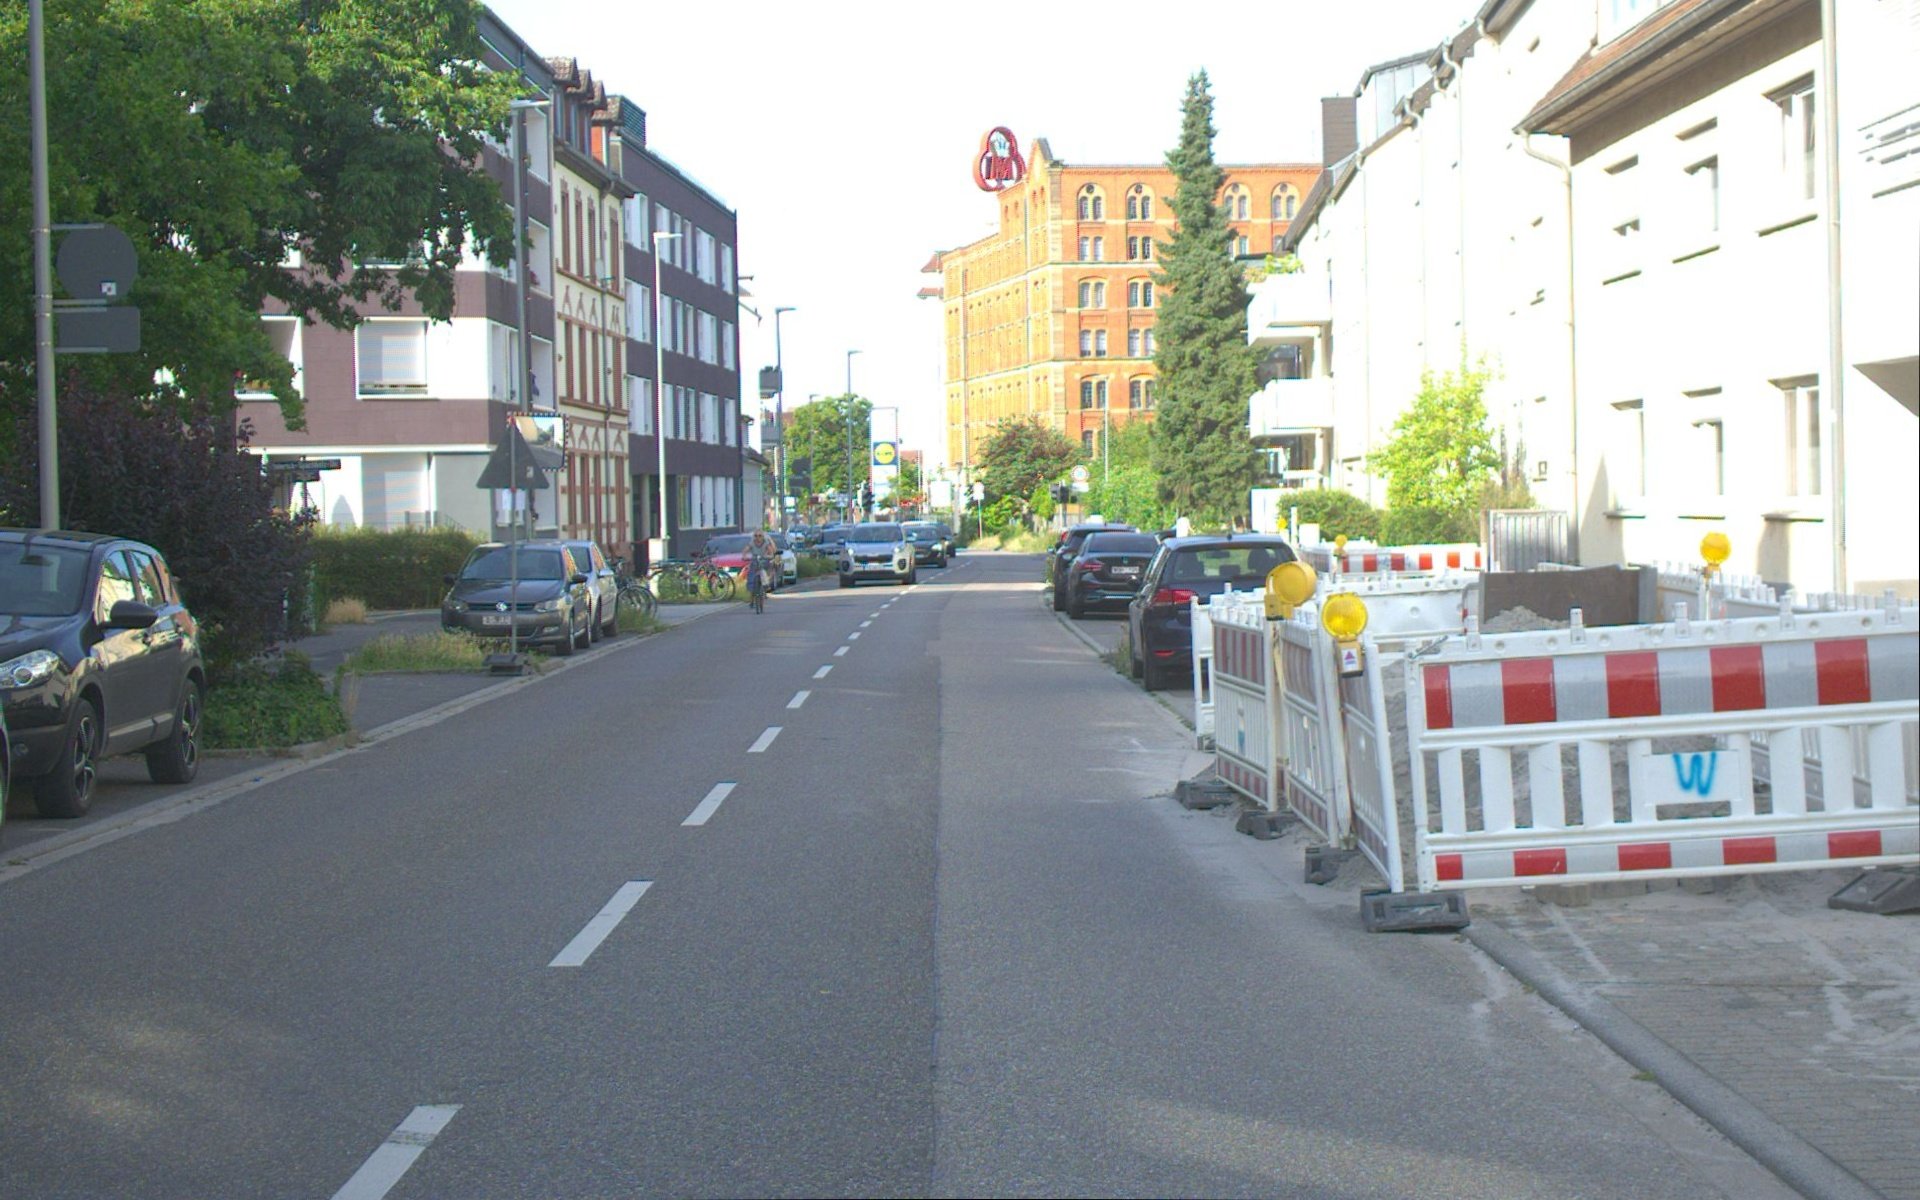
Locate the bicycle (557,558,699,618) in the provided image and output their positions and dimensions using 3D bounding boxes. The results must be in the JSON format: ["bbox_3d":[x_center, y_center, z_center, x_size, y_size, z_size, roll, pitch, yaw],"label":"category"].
[{"bbox_3d":[-5.574,-0.209,57.765,2.339,0.967,0.708,-1,1,-5],"label":"bicycle"}]

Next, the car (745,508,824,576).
[{"bbox_3d":[-5.044,-1.682,99.309,1.993,1.905,3.689,-1,1,1],"label":"car"}]

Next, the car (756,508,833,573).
[{"bbox_3d":[-4.954,-1.798,103.385,1.993,1.901,4.000,-1,1,1],"label":"car"}]

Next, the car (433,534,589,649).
[{"bbox_3d":[-5.846,-0.148,45.092,1.573,1.415,3.804,0,1,-1],"label":"car"}]

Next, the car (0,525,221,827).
[{"bbox_3d":[-5.688,0.359,20.437,1.686,1.597,4.370,0,1,-1],"label":"car"}]

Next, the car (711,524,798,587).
[{"bbox_3d":[-4.951,-1.084,83.226,1.840,1.459,3.585,-1,1,0],"label":"car"}]

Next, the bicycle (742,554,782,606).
[{"bbox_3d":[-3.727,-0.386,64.853,0.608,0.939,1.811,0,1,1],"label":"bicycle"}]

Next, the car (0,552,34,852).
[{"bbox_3d":[-5.479,0.534,15.276,1.686,1.449,4.141,0,1,-1],"label":"car"}]

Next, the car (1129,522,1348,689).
[{"bbox_3d":[2.656,0.007,33.545,1.830,1.477,3.943,-1,1,1],"label":"car"}]

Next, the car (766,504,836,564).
[{"bbox_3d":[-5.043,-2.119,109.760,1.993,1.875,4.000,-1,1,0],"label":"car"}]

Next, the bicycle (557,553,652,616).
[{"bbox_3d":[-6.047,-0.260,58.482,1.584,1.037,0.708,-1,1,-5],"label":"bicycle"}]

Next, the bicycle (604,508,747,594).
[{"bbox_3d":[-6.084,-1.057,73.720,2.918,1.771,1.202,-1,1,1],"label":"bicycle"}]

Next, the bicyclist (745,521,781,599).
[{"bbox_3d":[-3.726,-0.760,64.909,0.591,1.437,0.750,-1,1,1],"label":"bicyclist"}]

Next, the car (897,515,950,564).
[{"bbox_3d":[-1.244,-2.099,117.999,1.763,1.610,4.000,-2,1,0],"label":"car"}]

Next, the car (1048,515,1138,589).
[{"bbox_3d":[2.898,-1.070,75.506,1.763,1.521,4.000,-2,1,0],"label":"car"}]

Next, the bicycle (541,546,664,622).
[{"bbox_3d":[-5.909,-0.269,56.890,2.000,1.213,0.708,-1,1,-5],"label":"bicycle"}]

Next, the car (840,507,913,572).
[{"bbox_3d":[-2.160,-1.597,89.616,1.763,1.610,4.000,-2,1,0],"label":"car"}]

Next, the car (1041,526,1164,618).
[{"bbox_3d":[2.381,-0.497,58.223,1.859,1.467,4.000,-1,1,0],"label":"car"}]

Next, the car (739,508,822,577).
[{"bbox_3d":[-4.903,-1.580,94.191,1.993,1.829,3.689,-1,1,1],"label":"car"}]

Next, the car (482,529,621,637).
[{"bbox_3d":[-5.991,-0.279,50.773,1.676,1.496,4.001,-1,1,-2],"label":"car"}]

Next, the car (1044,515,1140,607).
[{"bbox_3d":[2.408,-0.745,63.463,1.601,1.640,3.685,0,1,0],"label":"car"}]

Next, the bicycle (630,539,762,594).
[{"bbox_3d":[-5.791,-0.734,75.493,2.773,1.140,1.143,-1,1,1],"label":"bicycle"}]
